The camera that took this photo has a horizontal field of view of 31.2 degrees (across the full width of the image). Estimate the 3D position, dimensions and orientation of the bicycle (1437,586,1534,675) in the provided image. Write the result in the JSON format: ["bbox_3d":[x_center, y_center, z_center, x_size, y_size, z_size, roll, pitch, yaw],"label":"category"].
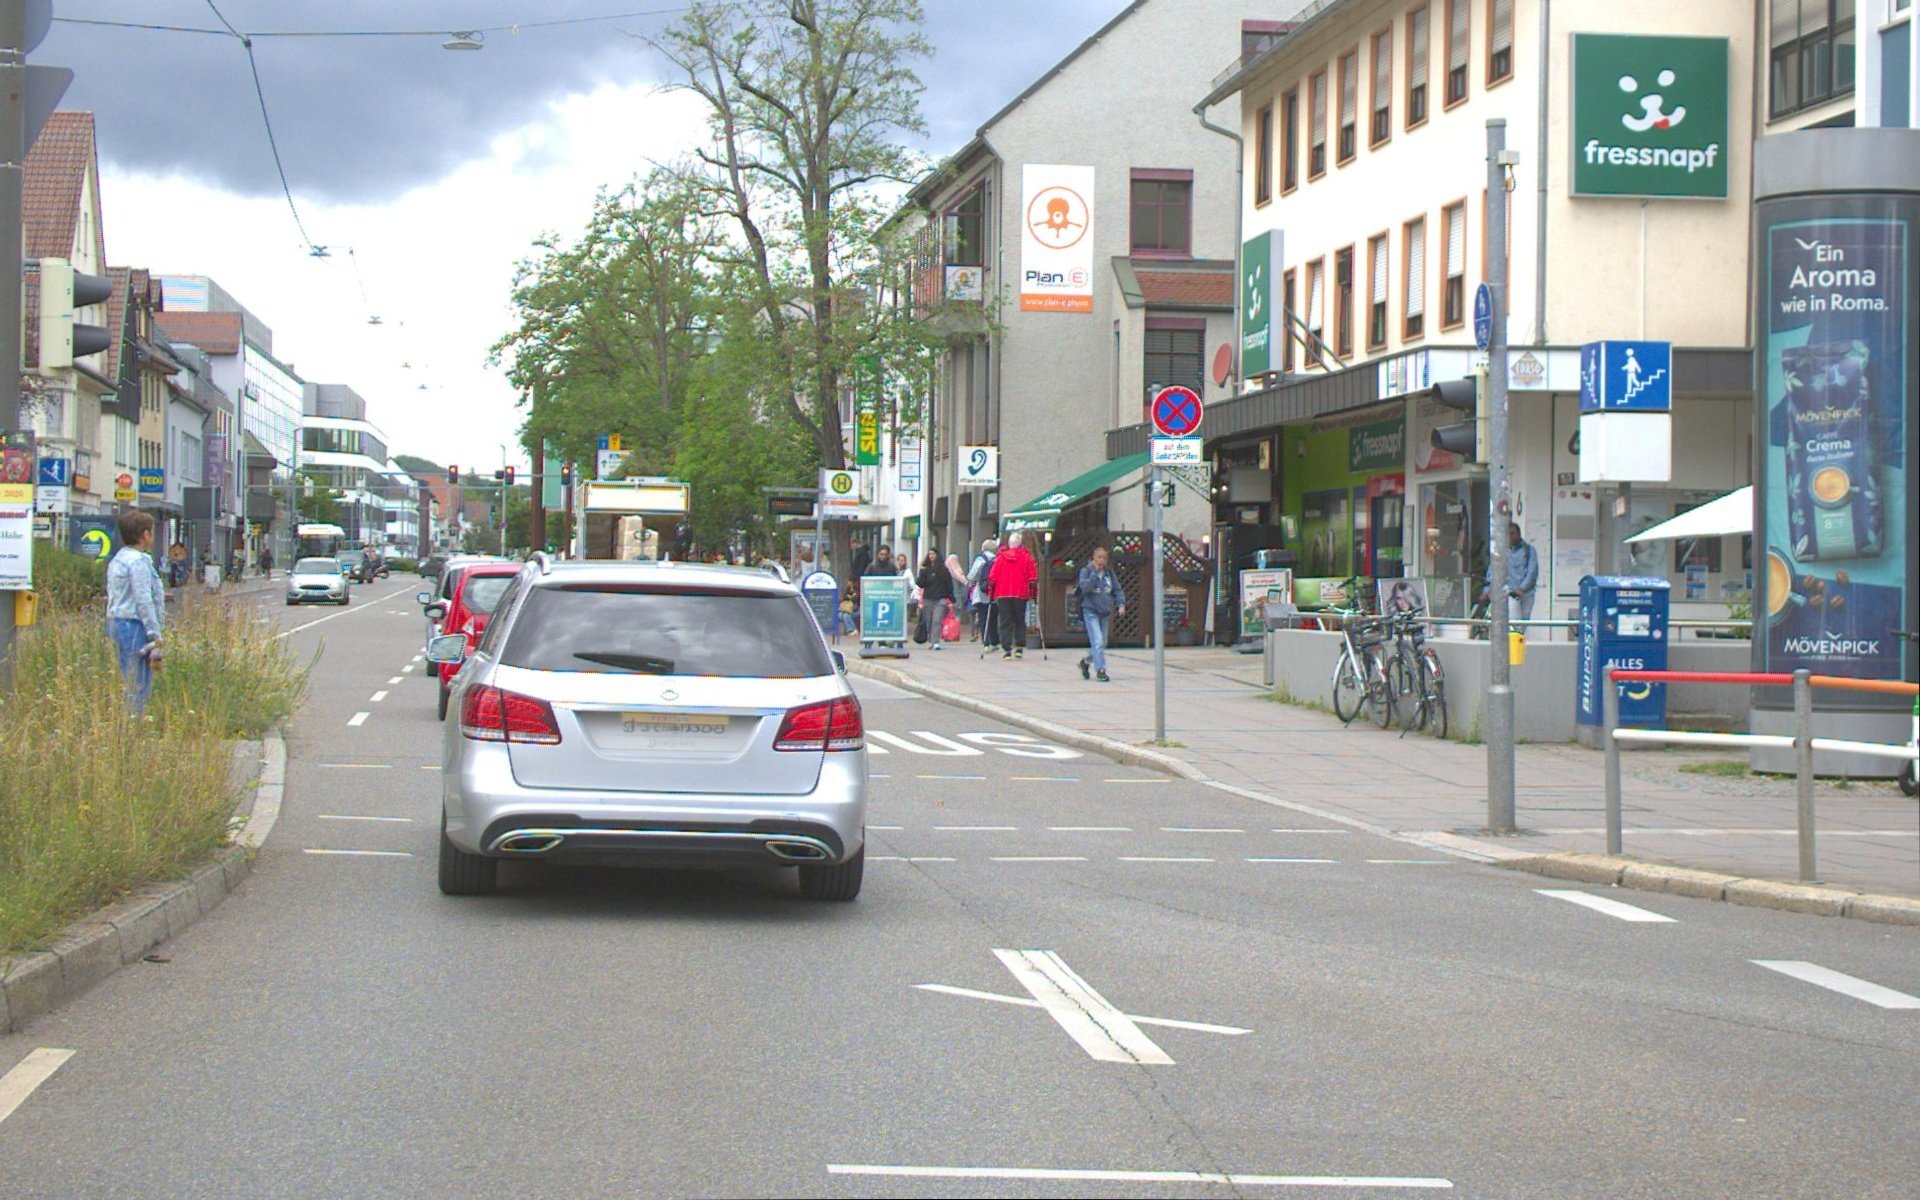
[{"bbox_3d":[6.035,0.345,39.567,0.273,0.971,1.387,0,1,-31],"label":"bicycle"}]

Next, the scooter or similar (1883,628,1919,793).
[{"bbox_3d":[6.843,0.778,24.039,0.314,1.129,1.208,1,1,-6],"label":"scooter or similar"}]

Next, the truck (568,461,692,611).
[{"bbox_3d":[-8.481,-1.623,87.362,2.688,3.549,9.769,1,1,-8],"label":"truck"}]

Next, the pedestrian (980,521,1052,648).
[{"bbox_3d":[0.776,-0.210,47.943,0.795,1.736,0.782,-1,-1,-13],"label":"pedestrian"}]

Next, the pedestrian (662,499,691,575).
[{"bbox_3d":[-6.761,-1.497,81.937,0.613,1.774,0.588,0,0,-11],"label":"pedestrian"}]

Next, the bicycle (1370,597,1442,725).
[{"bbox_3d":[3.867,0.517,29.851,0.273,1.049,1.387,1,1,-6],"label":"bicycle"}]

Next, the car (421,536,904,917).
[{"bbox_3d":[-1.499,0.494,15.847,1.874,1.501,4.001,2,0,-9],"label":"car"}]

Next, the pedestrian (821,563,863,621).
[{"bbox_3d":[-2.419,-0.167,70.586,0.711,1.162,0.588,2,1,-14],"label":"pedestrian"}]

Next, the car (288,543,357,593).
[{"bbox_3d":[-19.816,-1.000,107.014,1.874,1.501,4.344,0,0,-7],"label":"car"}]

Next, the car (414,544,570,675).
[{"bbox_3d":[-6.369,0.094,46.954,1.993,1.678,4.001,1,1,-7],"label":"car"}]

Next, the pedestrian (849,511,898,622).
[{"bbox_3d":[-1.337,-0.519,52.989,0.612,1.672,0.615,4,1,-5],"label":"pedestrian"}]

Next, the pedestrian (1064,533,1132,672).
[{"bbox_3d":[1.646,0.017,41.011,0.687,1.629,0.853,1,1,-5],"label":"pedestrian"}]

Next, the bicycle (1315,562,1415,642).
[{"bbox_3d":[5.546,0.015,47.256,0.741,1.059,2.352,0,1,-9],"label":"bicycle"}]

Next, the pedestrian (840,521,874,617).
[{"bbox_3d":[-2.194,-0.661,73.250,0.613,2.040,0.588,-1,0,6],"label":"pedestrian"}]

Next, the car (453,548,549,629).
[{"bbox_3d":[-10.006,-0.276,75.027,1.993,1.678,4.001,1,1,-7],"label":"car"}]

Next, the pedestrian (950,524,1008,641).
[{"bbox_3d":[0.280,-0.261,51.966,0.682,1.736,0.782,-1,-1,-13],"label":"pedestrian"}]

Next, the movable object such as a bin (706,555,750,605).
[{"bbox_3d":[-6.341,-0.541,93.982,1.143,1.335,1.376,1,1,-6],"label":"movable object such as a bin"}]

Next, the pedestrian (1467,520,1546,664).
[{"bbox_3d":[6.290,-0.101,39.606,0.666,1.629,0.801,1,1,-7],"label":"pedestrian"}]

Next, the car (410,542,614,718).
[{"bbox_3d":[-4.283,0.258,32.864,1.754,1.515,4.001,2,0,-7],"label":"car"}]

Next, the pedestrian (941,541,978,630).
[{"bbox_3d":[-0.013,-0.270,63.648,0.586,1.629,0.615,1,1,-6],"label":"pedestrian"}]

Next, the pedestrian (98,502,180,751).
[{"bbox_3d":[-5.462,0.171,22.863,0.502,1.629,0.664,1,1,-14],"label":"pedestrian"}]

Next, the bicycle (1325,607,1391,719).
[{"bbox_3d":[3.619,0.563,31.326,0.273,0.971,1.387,1,1,-6],"label":"bicycle"}]

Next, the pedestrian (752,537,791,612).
[{"bbox_3d":[-4.205,-0.570,76.556,0.534,1.629,0.588,4,1,-32],"label":"pedestrian"}]

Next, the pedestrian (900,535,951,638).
[{"bbox_3d":[-0.553,-0.213,54.872,0.718,1.629,0.615,0,0,-10],"label":"pedestrian"}]
